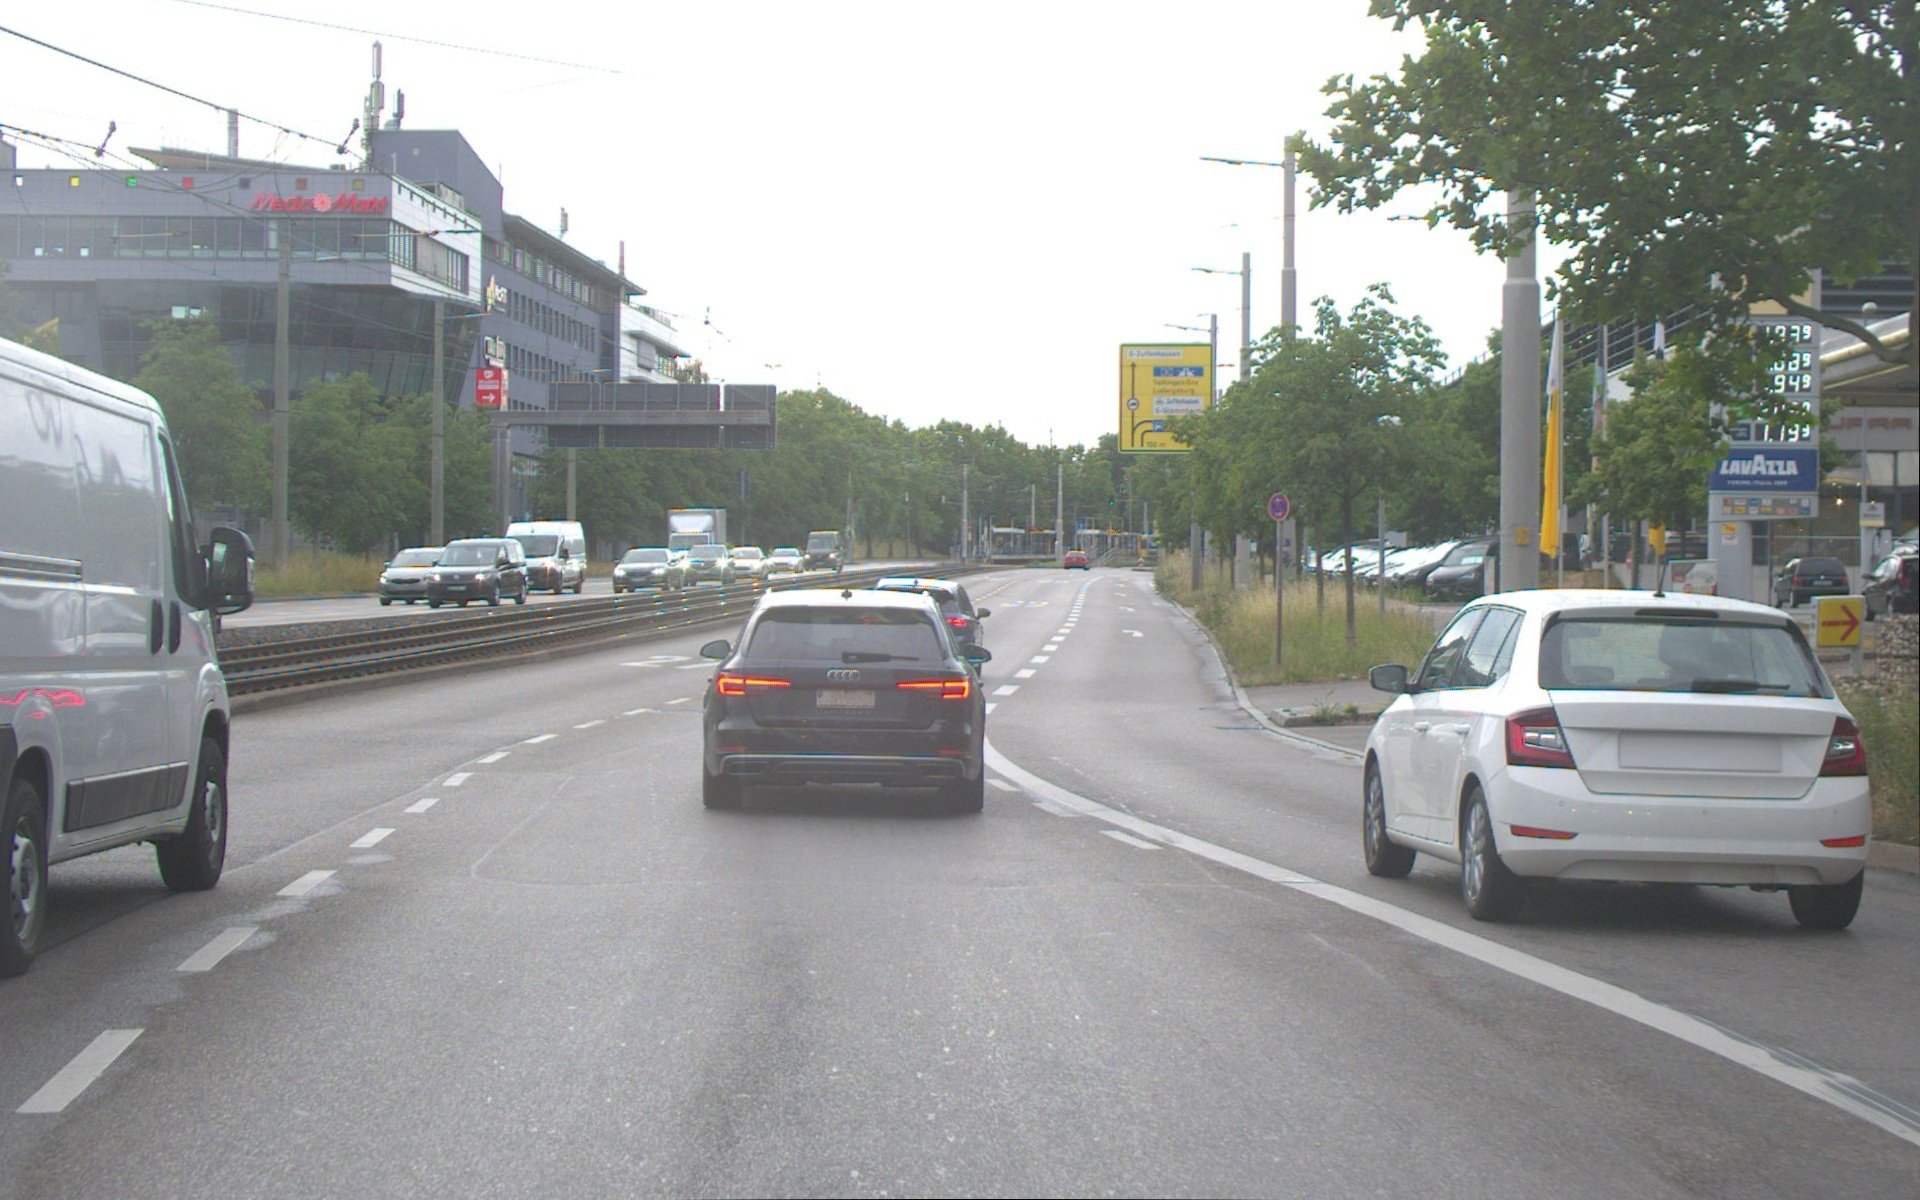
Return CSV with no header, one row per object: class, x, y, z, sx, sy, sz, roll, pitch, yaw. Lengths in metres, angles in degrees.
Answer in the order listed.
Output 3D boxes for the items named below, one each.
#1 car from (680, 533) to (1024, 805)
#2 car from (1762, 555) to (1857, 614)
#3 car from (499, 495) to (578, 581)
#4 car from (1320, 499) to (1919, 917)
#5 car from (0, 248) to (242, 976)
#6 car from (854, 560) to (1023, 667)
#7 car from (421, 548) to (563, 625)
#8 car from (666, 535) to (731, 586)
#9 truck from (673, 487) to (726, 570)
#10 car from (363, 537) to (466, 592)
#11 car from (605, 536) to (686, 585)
car,-0.811,0.396,22.785,1.993,1.631,4.001,0,1,-6
car,23.615,-0.446,95.665,1.791,1.586,4.000,0,1,2
car,-14.085,-2.059,115.086,2.158,2.713,5.068,3,1,-3
car,2.936,0.432,16.003,1.829,1.650,4.000,2,0,-3
car,-4.322,0.036,12.815,2.445,2.286,4.905,0,0,-2
car,-0.271,0.184,50.087,1.894,1.460,3.908,1,0,8
car,-12.326,-0.345,90.849,2.160,1.879,4.298,3,1,14
car,-10.333,-1.545,136.101,2.158,1.879,4.302,3,1,0
truck,-12.064,-3.299,159.525,2.158,3.633,6.875,3,1,-3
car,-15.474,-1.014,97.728,2.158,1.500,4.302,0,1,1
car,-10.654,-1.350,116.799,1.801,1.615,4.954,1,1,6
